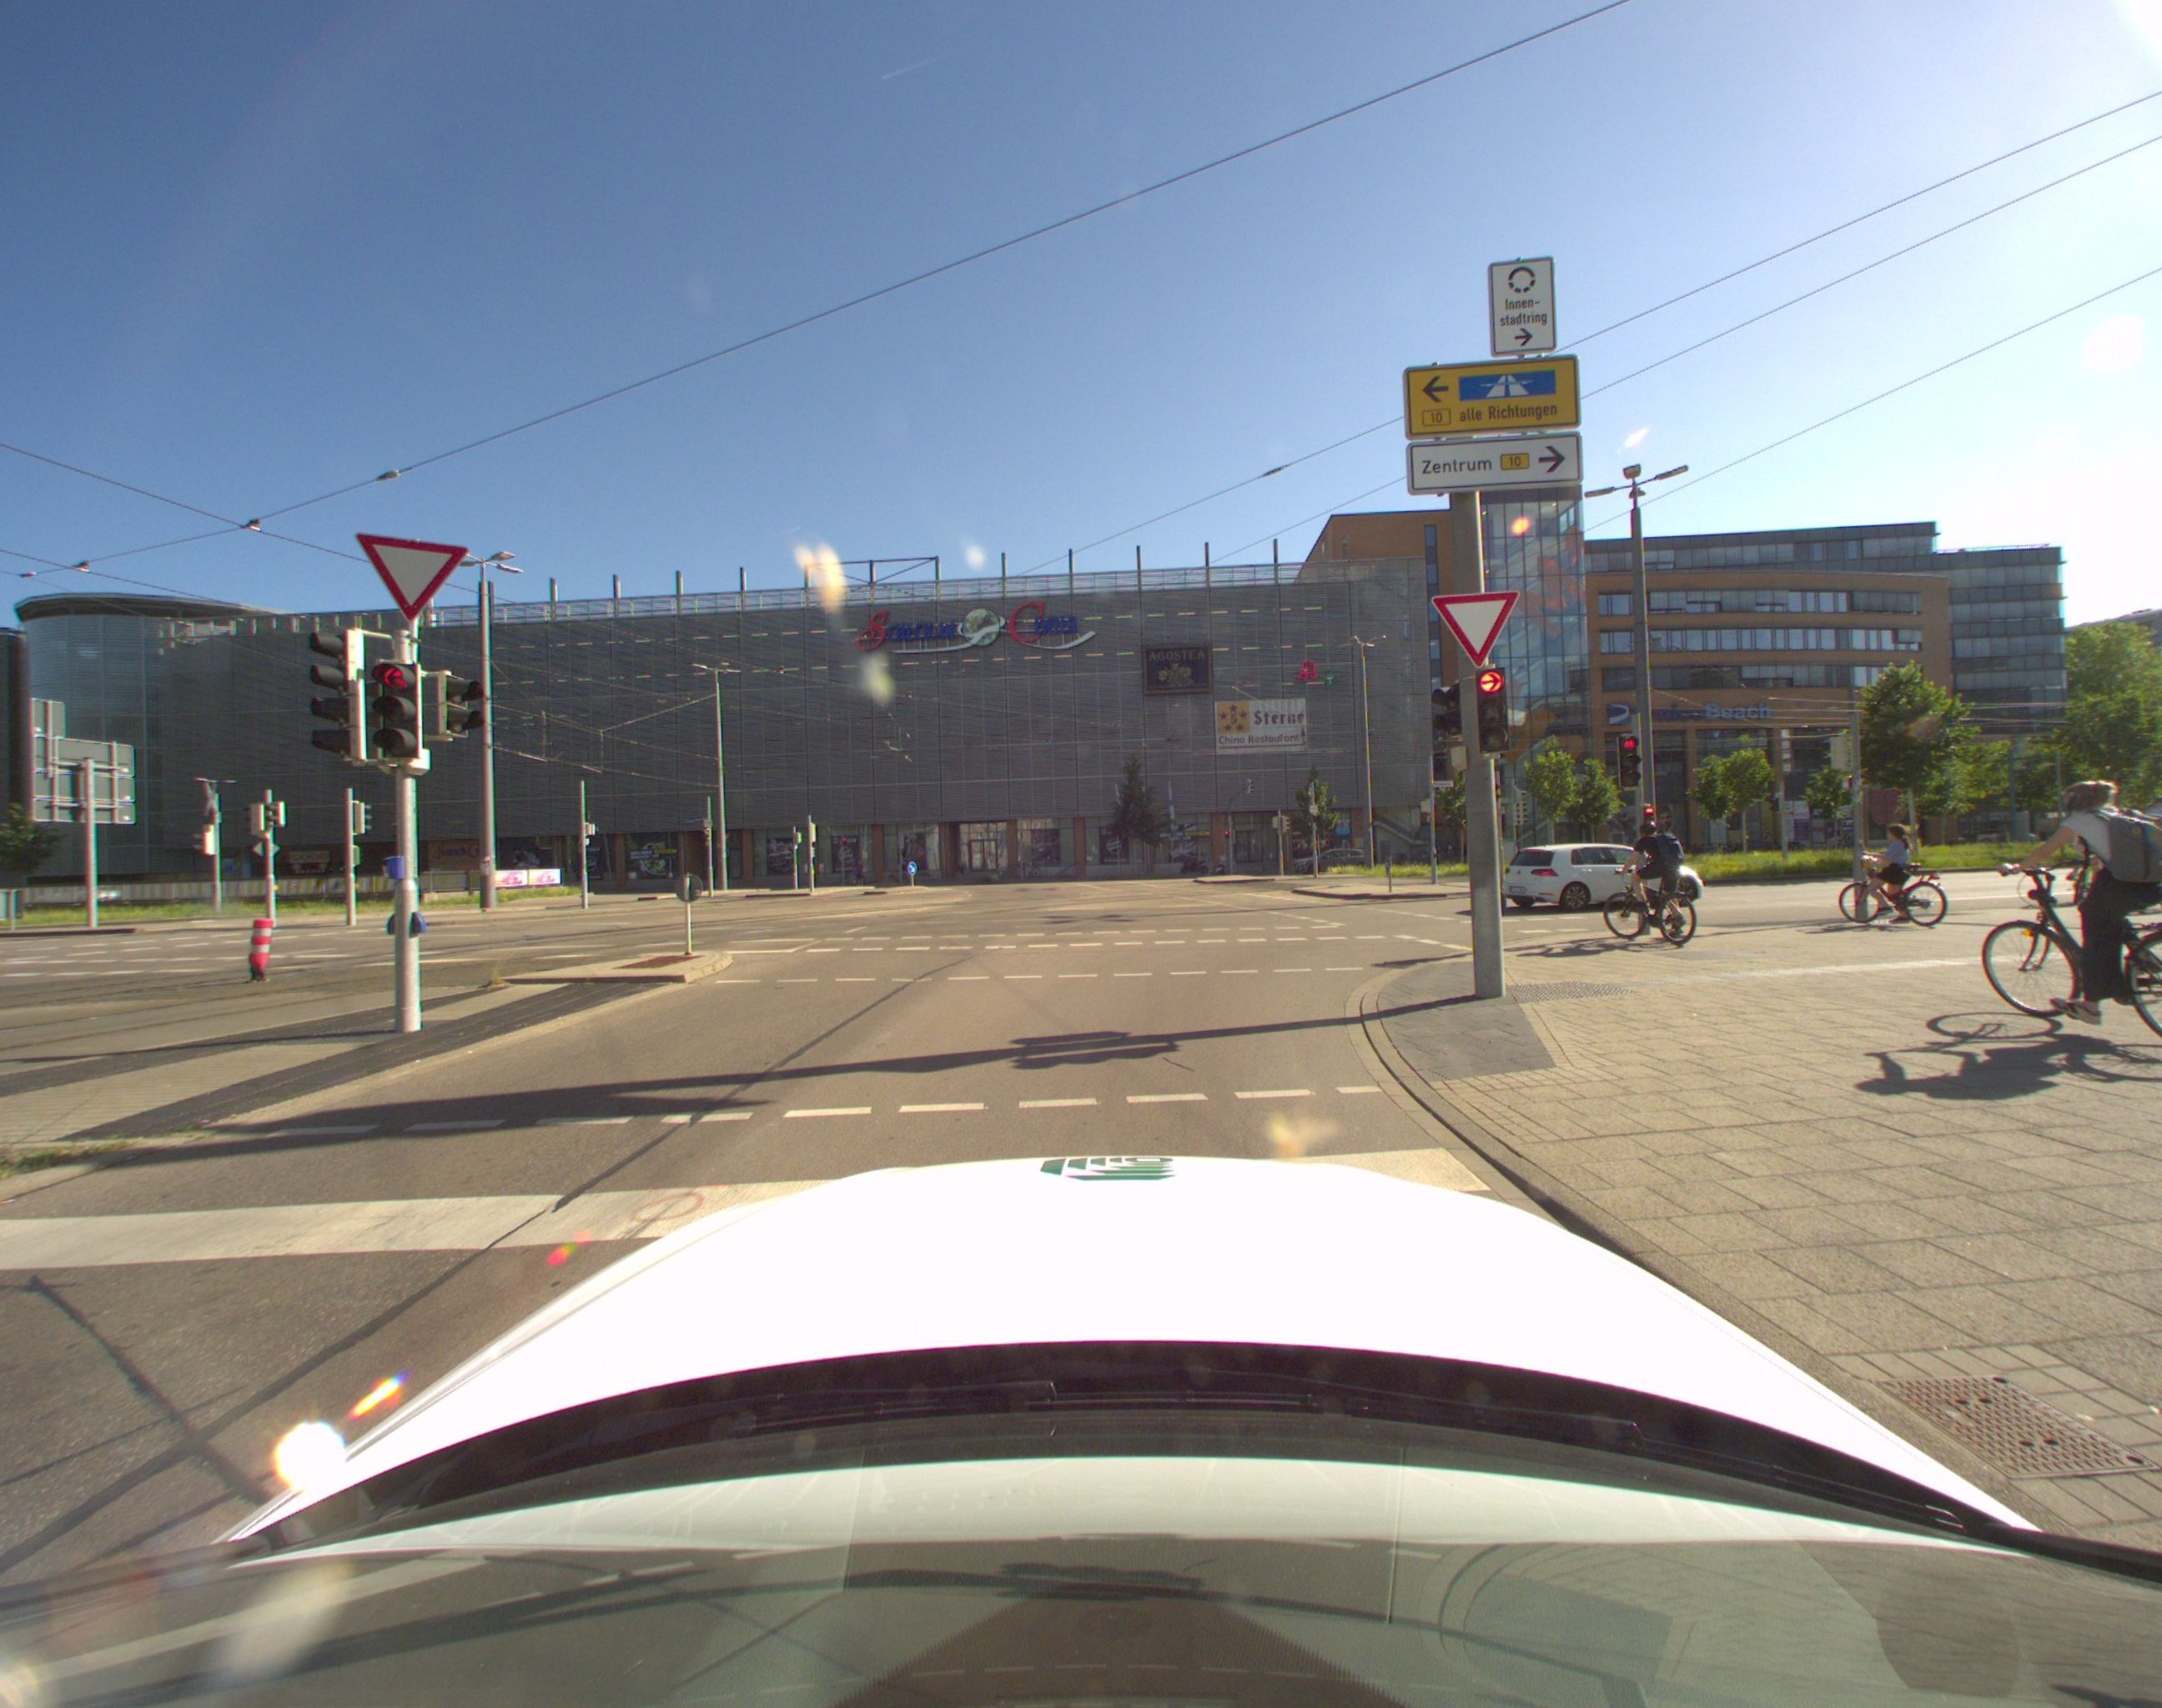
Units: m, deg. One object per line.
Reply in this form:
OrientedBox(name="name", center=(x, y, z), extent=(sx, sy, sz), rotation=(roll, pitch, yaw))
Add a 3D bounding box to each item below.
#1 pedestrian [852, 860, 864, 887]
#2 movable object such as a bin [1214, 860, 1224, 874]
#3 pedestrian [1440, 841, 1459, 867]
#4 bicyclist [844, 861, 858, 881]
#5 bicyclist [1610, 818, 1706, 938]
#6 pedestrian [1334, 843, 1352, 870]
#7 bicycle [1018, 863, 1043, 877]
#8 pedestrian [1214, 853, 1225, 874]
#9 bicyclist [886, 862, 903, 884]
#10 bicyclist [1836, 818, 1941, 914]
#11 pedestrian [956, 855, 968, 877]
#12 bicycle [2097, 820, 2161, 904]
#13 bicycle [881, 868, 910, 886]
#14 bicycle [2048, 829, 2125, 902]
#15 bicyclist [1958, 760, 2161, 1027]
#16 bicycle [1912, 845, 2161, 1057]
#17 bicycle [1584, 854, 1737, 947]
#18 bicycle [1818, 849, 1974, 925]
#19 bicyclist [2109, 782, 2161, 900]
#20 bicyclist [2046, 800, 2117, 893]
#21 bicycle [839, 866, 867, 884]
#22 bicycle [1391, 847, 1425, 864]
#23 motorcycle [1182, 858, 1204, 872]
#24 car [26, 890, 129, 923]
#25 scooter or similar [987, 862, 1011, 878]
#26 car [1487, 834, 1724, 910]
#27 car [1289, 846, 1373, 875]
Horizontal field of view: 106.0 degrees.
OrientedBox(name="pedestrian", center=(-15.200, 1.303, 55.462), extent=(0.695, 1.797, 0.727), rotation=(-3, 0, -14))
OrientedBox(name="movable object such as a bin", center=(9.274, 0.874, 54.738), extent=(0.608, 0.904, 0.972), rotation=(-1, -1, 12))
OrientedBox(name="pedestrian", center=(27.322, 0.019, 60.345), extent=(1.022, 1.828, 1.022), rotation=(-3, 0, 33))
OrientedBox(name="bicyclist", center=(-16.763, 1.235, 59.307), extent=(0.750, 1.386, 0.566), rotation=(-2, 1, 1))
OrientedBox(name="bicyclist", center=(8.278, 0.330, 11.722), extent=(0.627, 1.629, 0.971), rotation=(-2, -1, -1))
OrientedBox(name="pedestrian", center=(18.637, 0.177, 57.944), extent=(0.945, 1.829, 0.847), rotation=(-3, -4, 7))
OrientedBox(name="bicycle", center=(-3.778, 1.166, 60.790), extent=(1.815, 0.989, 0.556), rotation=(-2, 1, -8))
OrientedBox(name="pedestrian", center=(9.408, 0.624, 55.201), extent=(0.650, 1.414, 0.853), rotation=(-1, -1, 12))
OrientedBox(name="bicyclist", center=(-12.626, 1.267, 55.238), extent=(0.667, 1.427, 0.855), rotation=(-1, 2, 45))
OrientedBox(name="bicyclist", center=(12.644, 0.202, 12.790), extent=(0.664, 1.436, 0.941), rotation=(-2, -3, 5))
OrientedBox(name="pedestrian", center=(-8.944, 0.894, 61.077), extent=(0.654, 1.601, 0.597), rotation=(-1, -1, 20))
OrientedBox(name="bicycle", center=(17.456, 0.111, 13.201), extent=(2.159, 1.301, 0.752), rotation=(-1, -1, -27))
OrientedBox(name="bicycle", center=(-12.582, 1.577, 55.311), extent=(0.562, 1.086, 1.874), rotation=(-1, 2, 45))
OrientedBox(name="bicycle", center=(19.081, 0.228, 15.494), extent=(1.759, 1.327, 0.707), rotation=(1, -3, -44))
OrientedBox(name="bicyclist", center=(6.706, 0.241, 5.460), extent=(0.662, 1.629, 0.975), rotation=(-2, -1, 14))
OrientedBox(name="bicycle", center=(6.694, 0.552, 5.365), extent=(0.662, 1.197, 2.163), rotation=(-2, 0, 15))
OrientedBox(name="bicycle", center=(8.284, 0.615, 11.785), extent=(0.634, 1.197, 2.153), rotation=(-2, 0, -1))
OrientedBox(name="bicycle", center=(12.603, 0.481, 12.678), extent=(0.664, 1.072, 1.822), rotation=(-2, 0, 4))
OrientedBox(name="bicyclist", center=(17.470, -0.206, 13.187), extent=(0.751, 1.866, 0.803), rotation=(-1, -2, -25))
OrientedBox(name="bicyclist", center=(19.211, -0.117, 15.664), extent=(1.100, 1.726, 0.707), rotation=(2, -4, -43))
OrientedBox(name="bicycle", center=(-16.612, 1.509, 59.295), extent=(1.850, 1.217, 0.569), rotation=(-2, 1, 1))
OrientedBox(name="bicycle", center=(24.346, 0.104, 60.617), extent=(2.247, 1.296, 0.606), rotation=(0, -1, 0))
OrientedBox(name="motorcycle", center=(8.316, 0.823, 60.595), extent=(1.630, 1.004, 0.448), rotation=(0, 0, 8))
OrientedBox(name="car", center=(-63.765, 3.334, 51.802), extent=(4.311, 1.863, 1.841), rotation=(-1, -1, 1))
OrientedBox(name="scooter or similar", center=(-6.181, 1.196, 61.231), extent=(1.790, 1.066, 0.611), rotation=(-2, 1, -6))
OrientedBox(name="car", center=(11.625, 0.369, 18.199), extent=(4.280, 1.472, 1.860), rotation=(-2, 0, -8))
OrientedBox(name="car", center=(13.975, 0.361, 45.682), extent=(4.132, 1.470, 1.841), rotation=(2, -1, 0))
